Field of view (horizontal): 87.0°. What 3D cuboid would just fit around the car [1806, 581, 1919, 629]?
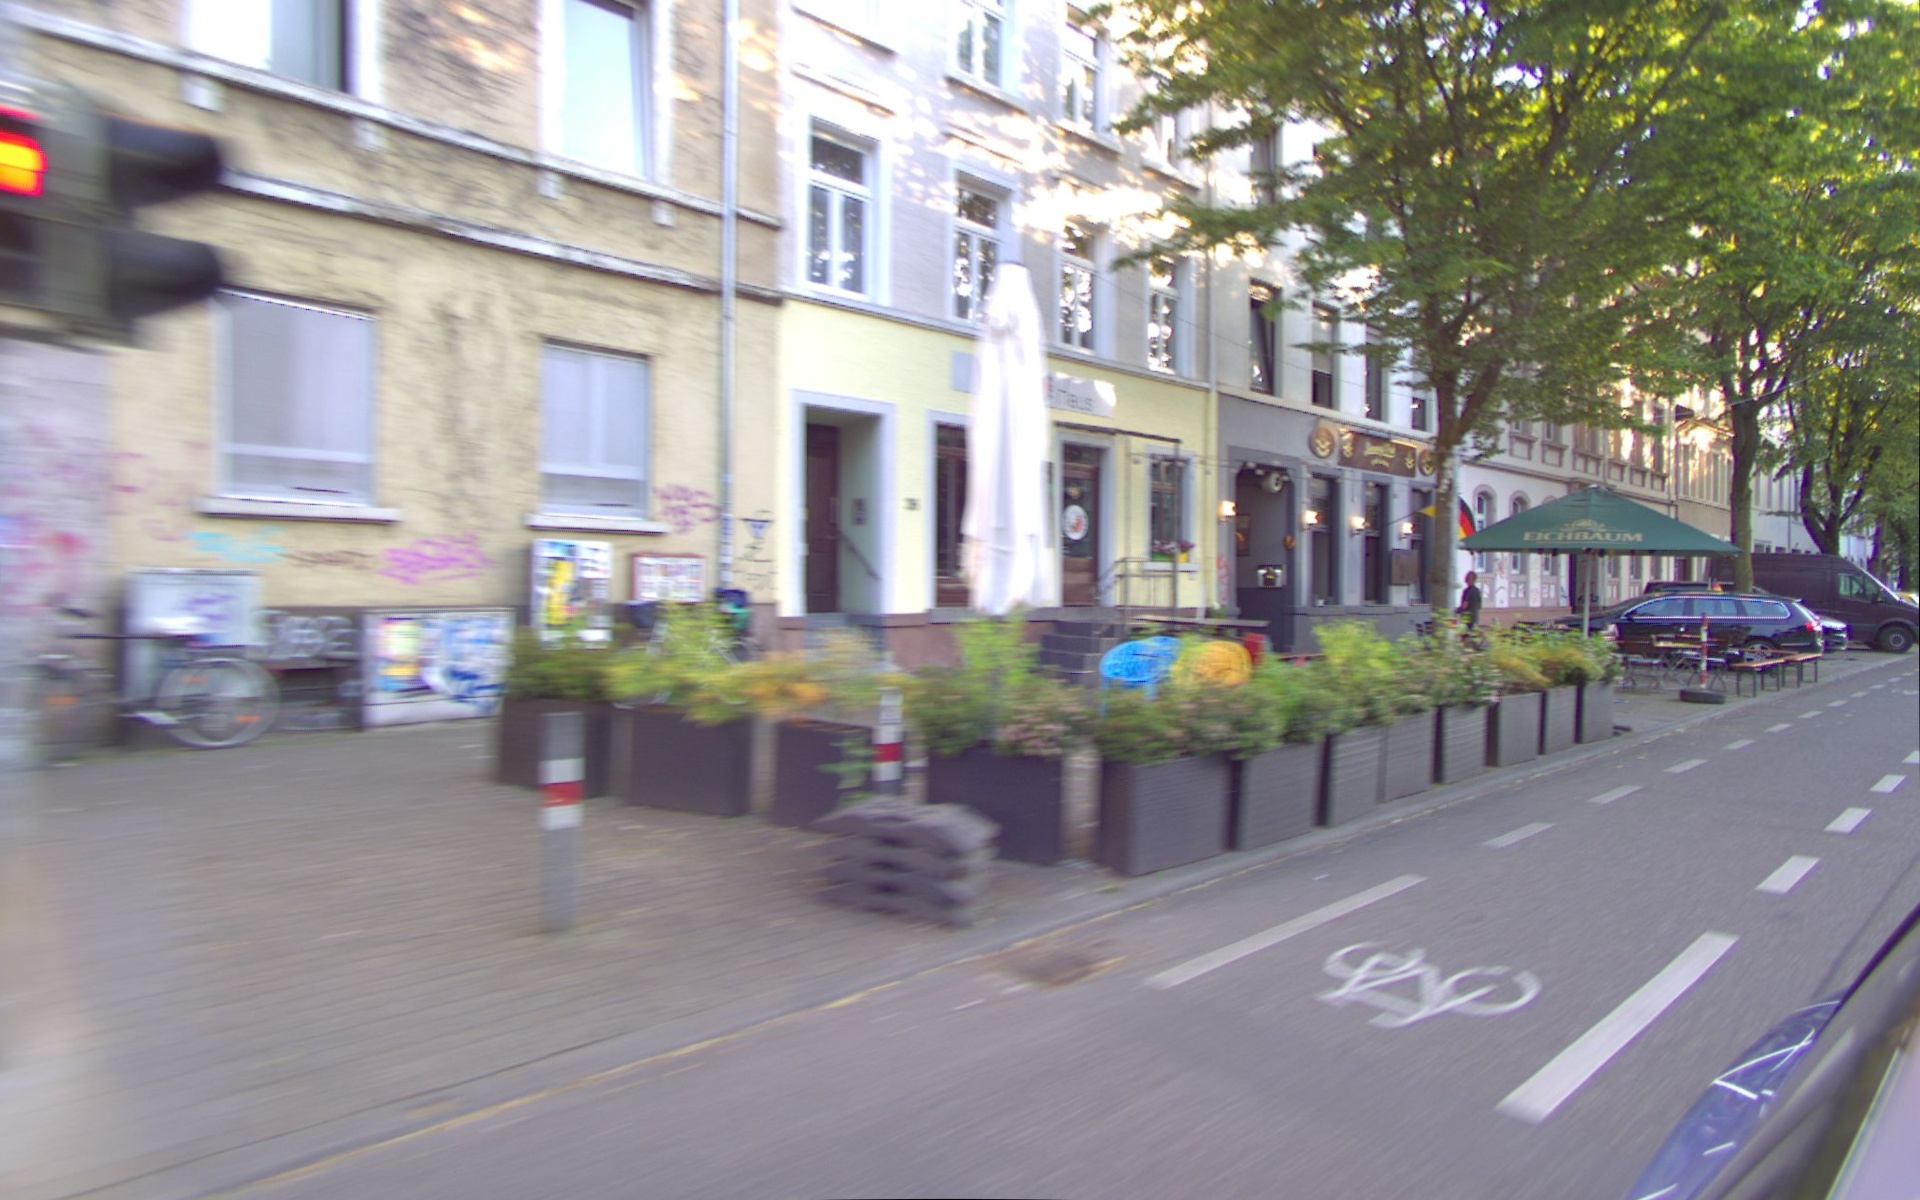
[{"bbox_3d":[33.321,0.188,36.539,1.691,1.595,3.992,1,1,-39],"label":"car"}]

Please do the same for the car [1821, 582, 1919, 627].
[{"bbox_3d":[35.497,0.161,38.418,1.691,1.595,3.992,1,1,-39],"label":"car"}]

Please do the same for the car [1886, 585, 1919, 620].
[{"bbox_3d":[45.774,0.160,46.881,3.970,1.595,1.700,2,1,35],"label":"car"}]

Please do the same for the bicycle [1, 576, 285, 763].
[{"bbox_3d":[-5.845,0.449,7.318,1.558,1.226,0.470,0,0,-41],"label":"bicycle"}]

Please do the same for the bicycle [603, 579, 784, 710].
[{"bbox_3d":[-2.655,0.407,10.216,1.752,1.226,0.470,0,0,-41],"label":"bicycle"}]

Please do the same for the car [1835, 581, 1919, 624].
[{"bbox_3d":[37.227,0.127,39.882,3.974,1.595,1.698,3,1,38],"label":"car"}]

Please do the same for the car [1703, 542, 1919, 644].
[{"bbox_3d":[24.004,-0.253,28.138,5.196,2.653,1.905,2,2,34],"label":"car"}]

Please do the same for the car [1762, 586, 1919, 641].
[{"bbox_3d":[27.316,0.393,31.108,3.966,1.504,1.702,2,1,33],"label":"car"}]

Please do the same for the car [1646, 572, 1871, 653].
[{"bbox_3d":[19.087,0.238,24.311,1.692,1.720,3.989,1,1,-42],"label":"car"}]

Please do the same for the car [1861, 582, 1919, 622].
[{"bbox_3d":[40.368,0.122,42.168,3.970,1.595,1.700,2,1,35],"label":"car"}]

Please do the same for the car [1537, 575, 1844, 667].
[{"bbox_3d":[14.236,0.351,20.082,4.586,1.536,1.796,2,1,24],"label":"car"}]

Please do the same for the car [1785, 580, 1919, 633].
[{"bbox_3d":[30.436,0.193,33.969,1.691,1.618,3.992,1,1,-39],"label":"car"}]

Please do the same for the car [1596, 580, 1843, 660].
[{"bbox_3d":[16.212,0.367,21.874,4.092,1.470,1.788,2,1,35],"label":"car"}]

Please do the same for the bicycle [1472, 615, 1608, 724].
[{"bbox_3d":[6.804,0.766,11.823,1.991,1.139,0.763,0,0,-41],"label":"bicycle"}]

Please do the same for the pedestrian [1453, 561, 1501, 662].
[{"bbox_3d":[9.317,0.192,18.237,0.633,1.774,0.499,0,2,-36],"label":"pedestrian"}]
